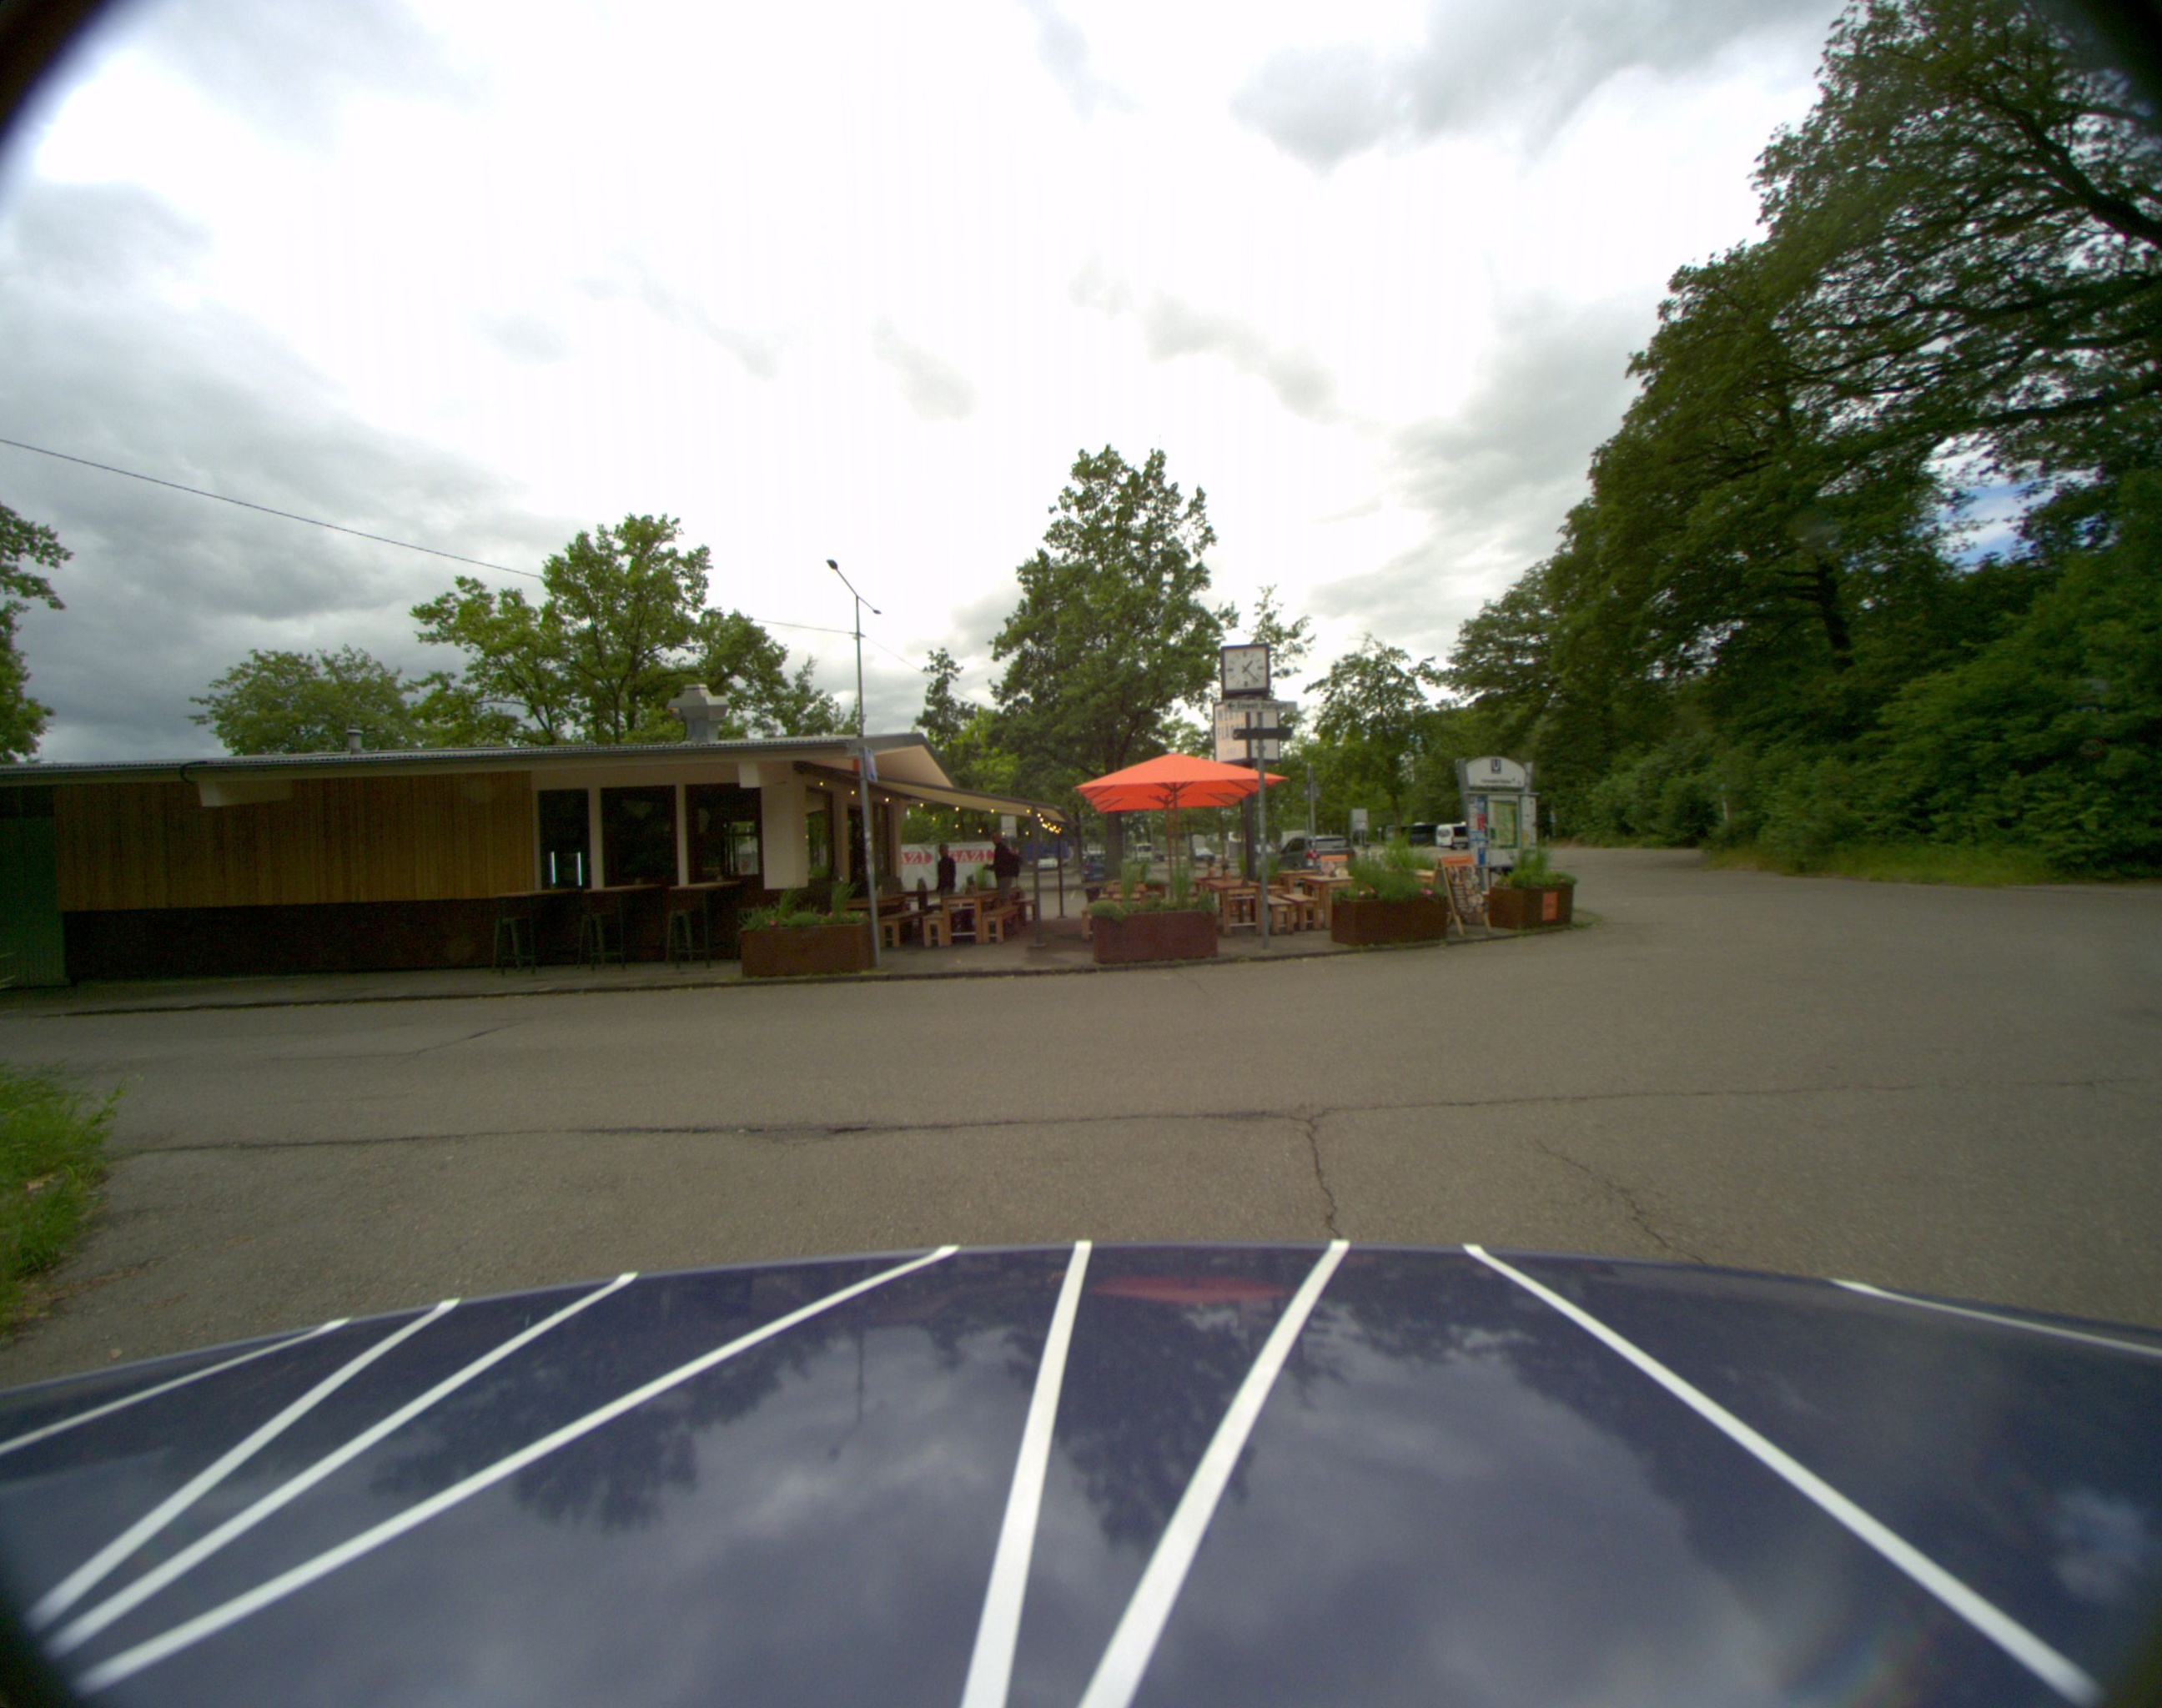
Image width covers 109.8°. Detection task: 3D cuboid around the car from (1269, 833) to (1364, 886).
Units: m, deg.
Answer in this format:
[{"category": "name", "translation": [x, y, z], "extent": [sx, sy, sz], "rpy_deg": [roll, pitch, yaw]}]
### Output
[{"category": "car", "translation": [8.253, 0.171, 27.056], "extent": [1.935, 1.660, 4.344], "rpy_deg": [-3, 1, -1]}]

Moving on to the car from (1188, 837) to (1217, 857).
[{"category": "car", "translation": [11.437, -0.632, 71.754], "extent": [1.876, 1.769, 4.294], "rpy_deg": [-3, 0, -2]}]

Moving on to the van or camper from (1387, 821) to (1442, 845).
[{"category": "van or camper", "translation": [45.107, -2.888, 102.661], "extent": [7.347, 2.833, 2.200], "rpy_deg": [-3, 1, -23]}]

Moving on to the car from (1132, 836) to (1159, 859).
[{"category": "car", "translation": [6.085, -0.585, 71.957], "extent": [1.876, 2.027, 4.589], "rpy_deg": [-3, 0, -2]}]

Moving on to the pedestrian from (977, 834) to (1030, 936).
[{"category": "pedestrian", "translation": [-1.424, 0.563, 14.102], "extent": [0.749, 1.820, 0.710], "rpy_deg": [-3, 1, 7]}]

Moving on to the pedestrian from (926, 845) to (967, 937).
[{"category": "pedestrian", "translation": [-2.513, 0.675, 14.240], "extent": [0.530, 1.657, 0.595], "rpy_deg": [-3, 1, 5]}]

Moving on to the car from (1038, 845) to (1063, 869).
[{"category": "car", "translation": [-2.656, 0.246, 66.065], "extent": [1.999, 2.002, 3.999], "rpy_deg": [-3, 1, -2]}]

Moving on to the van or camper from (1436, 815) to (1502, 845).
[{"category": "van or camper", "translation": [40.484, -2.530, 79.227], "extent": [7.348, 2.833, 2.064], "rpy_deg": [-3, 1, -25]}]

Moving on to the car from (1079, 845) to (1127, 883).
[{"category": "car", "translation": [0.965, 0.399, 34.478], "extent": [1.998, 1.543, 4.000], "rpy_deg": [-2, 1, 1]}]

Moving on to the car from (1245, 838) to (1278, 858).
[{"category": "car", "translation": [17.061, -0.560, 71.837], "extent": [1.876, 1.769, 4.294], "rpy_deg": [-3, 0, -2]}]
